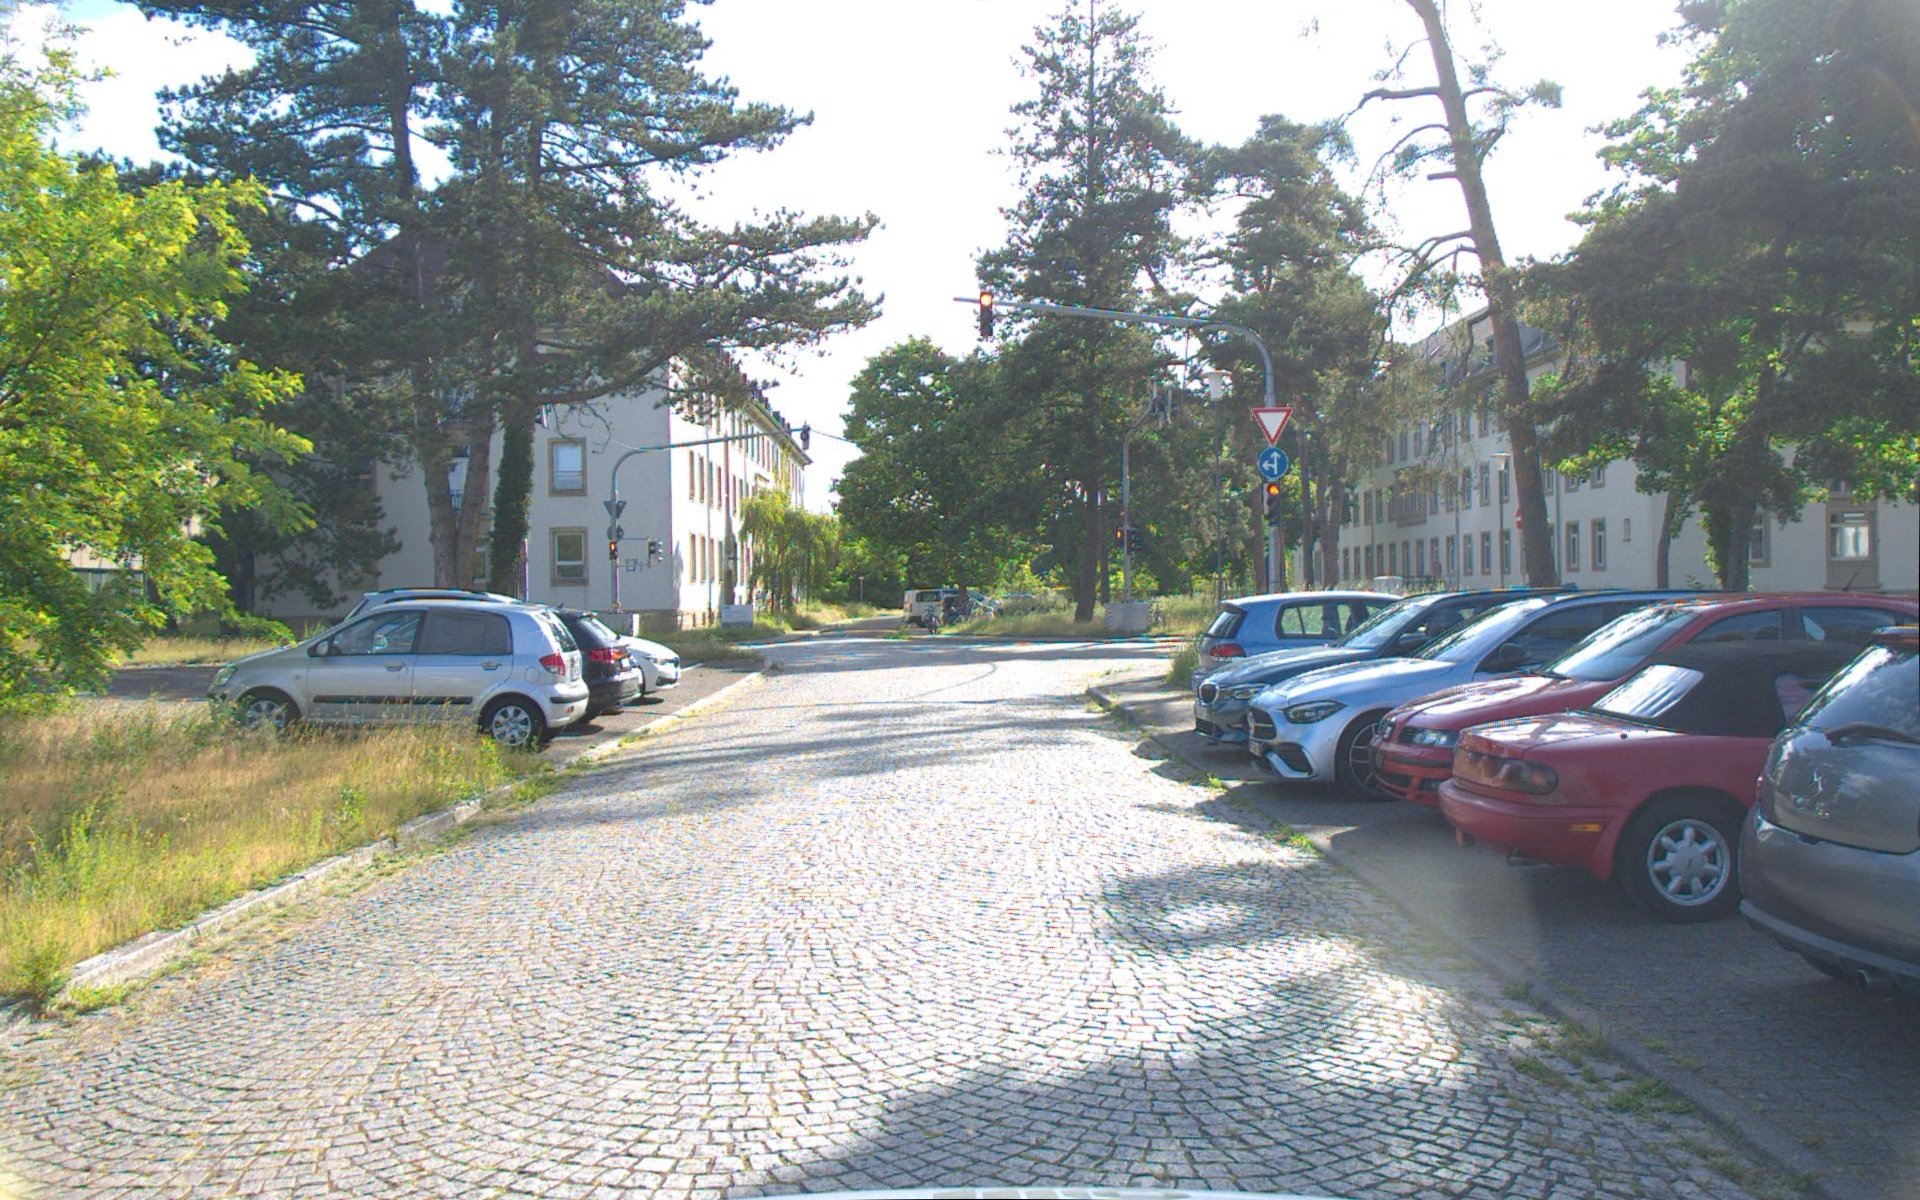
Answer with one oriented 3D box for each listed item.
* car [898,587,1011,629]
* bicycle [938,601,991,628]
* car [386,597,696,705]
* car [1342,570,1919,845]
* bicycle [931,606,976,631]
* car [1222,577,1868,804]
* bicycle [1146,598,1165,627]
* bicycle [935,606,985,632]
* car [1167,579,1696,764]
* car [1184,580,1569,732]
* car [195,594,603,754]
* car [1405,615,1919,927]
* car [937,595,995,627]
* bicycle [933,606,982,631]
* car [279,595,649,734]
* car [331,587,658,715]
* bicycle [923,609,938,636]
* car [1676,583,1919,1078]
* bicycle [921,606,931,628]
[{"bbox_3d":[-0.293,0.409,85.079,5.438,2.049,1.989,1,-1,-19],"label":"car"},{"bbox_3d":[0.189,0.594,67.127,2.070,1.028,0.620,1,-1,-9],"label":"bicycle"},{"bbox_3d":[-6.239,0.749,25.025,4.248,1.494,1.829,1,0,-4],"label":"car"},{"bbox_3d":[4.716,0.630,10.758,4.043,1.474,1.636,-3,0,-1],"label":"car"},{"bbox_3d":[-0.281,0.792,70.585,1.803,1.028,0.635,1,-1,-9],"label":"bicycle"},{"bbox_3d":[4.372,0.645,12.836,4.342,1.440,1.780,-3,1,-1],"label":"car"},{"bbox_3d":[6.511,0.418,55.145,0.294,0.977,1.584,1,-1,-4],"label":"bicycle"},{"bbox_3d":[-0.005,0.782,68.834,1.967,1.028,0.631,1,-1,-9],"label":"bicycle"},{"bbox_3d":[4.310,0.628,15.552,4.467,1.440,1.636,-3,0,-1],"label":"car"},{"bbox_3d":[4.523,0.585,18.335,3.803,1.440,1.636,-3,0,-1],"label":"car"},{"bbox_3d":[-5.716,0.741,17.199,3.672,1.513,1.644,1,0,-4],"label":"car"},{"bbox_3d":[4.314,0.762,8.353,3.632,1.244,1.746,-3,1,-1],"label":"car"},{"bbox_3d":[0.273,0.545,81.602,2.728,1.492,1.669,1,-1,-6],"label":"car"},{"bbox_3d":[-0.093,0.788,69.715,1.990,1.028,0.626,1,-1,-9],"label":"bicycle"},{"bbox_3d":[-5.832,0.741,19.825,3.908,1.506,1.802,1,0,-4],"label":"car"},{"bbox_3d":[-6.302,0.670,22.777,4.000,1.621,1.884,1,0,-4],"label":"car"},{"bbox_3d":[-1.125,0.865,63.567,0.458,1.028,1.584,1,-1,-4],"label":"bicycle"},{"bbox_3d":[4.722,0.641,5.759,3.632,1.474,1.816,-3,1,-1],"label":"car"},{"bbox_3d":[-1.583,0.783,76.746,0.409,1.028,1.483,1,-1,0],"label":"bicycle"}]
